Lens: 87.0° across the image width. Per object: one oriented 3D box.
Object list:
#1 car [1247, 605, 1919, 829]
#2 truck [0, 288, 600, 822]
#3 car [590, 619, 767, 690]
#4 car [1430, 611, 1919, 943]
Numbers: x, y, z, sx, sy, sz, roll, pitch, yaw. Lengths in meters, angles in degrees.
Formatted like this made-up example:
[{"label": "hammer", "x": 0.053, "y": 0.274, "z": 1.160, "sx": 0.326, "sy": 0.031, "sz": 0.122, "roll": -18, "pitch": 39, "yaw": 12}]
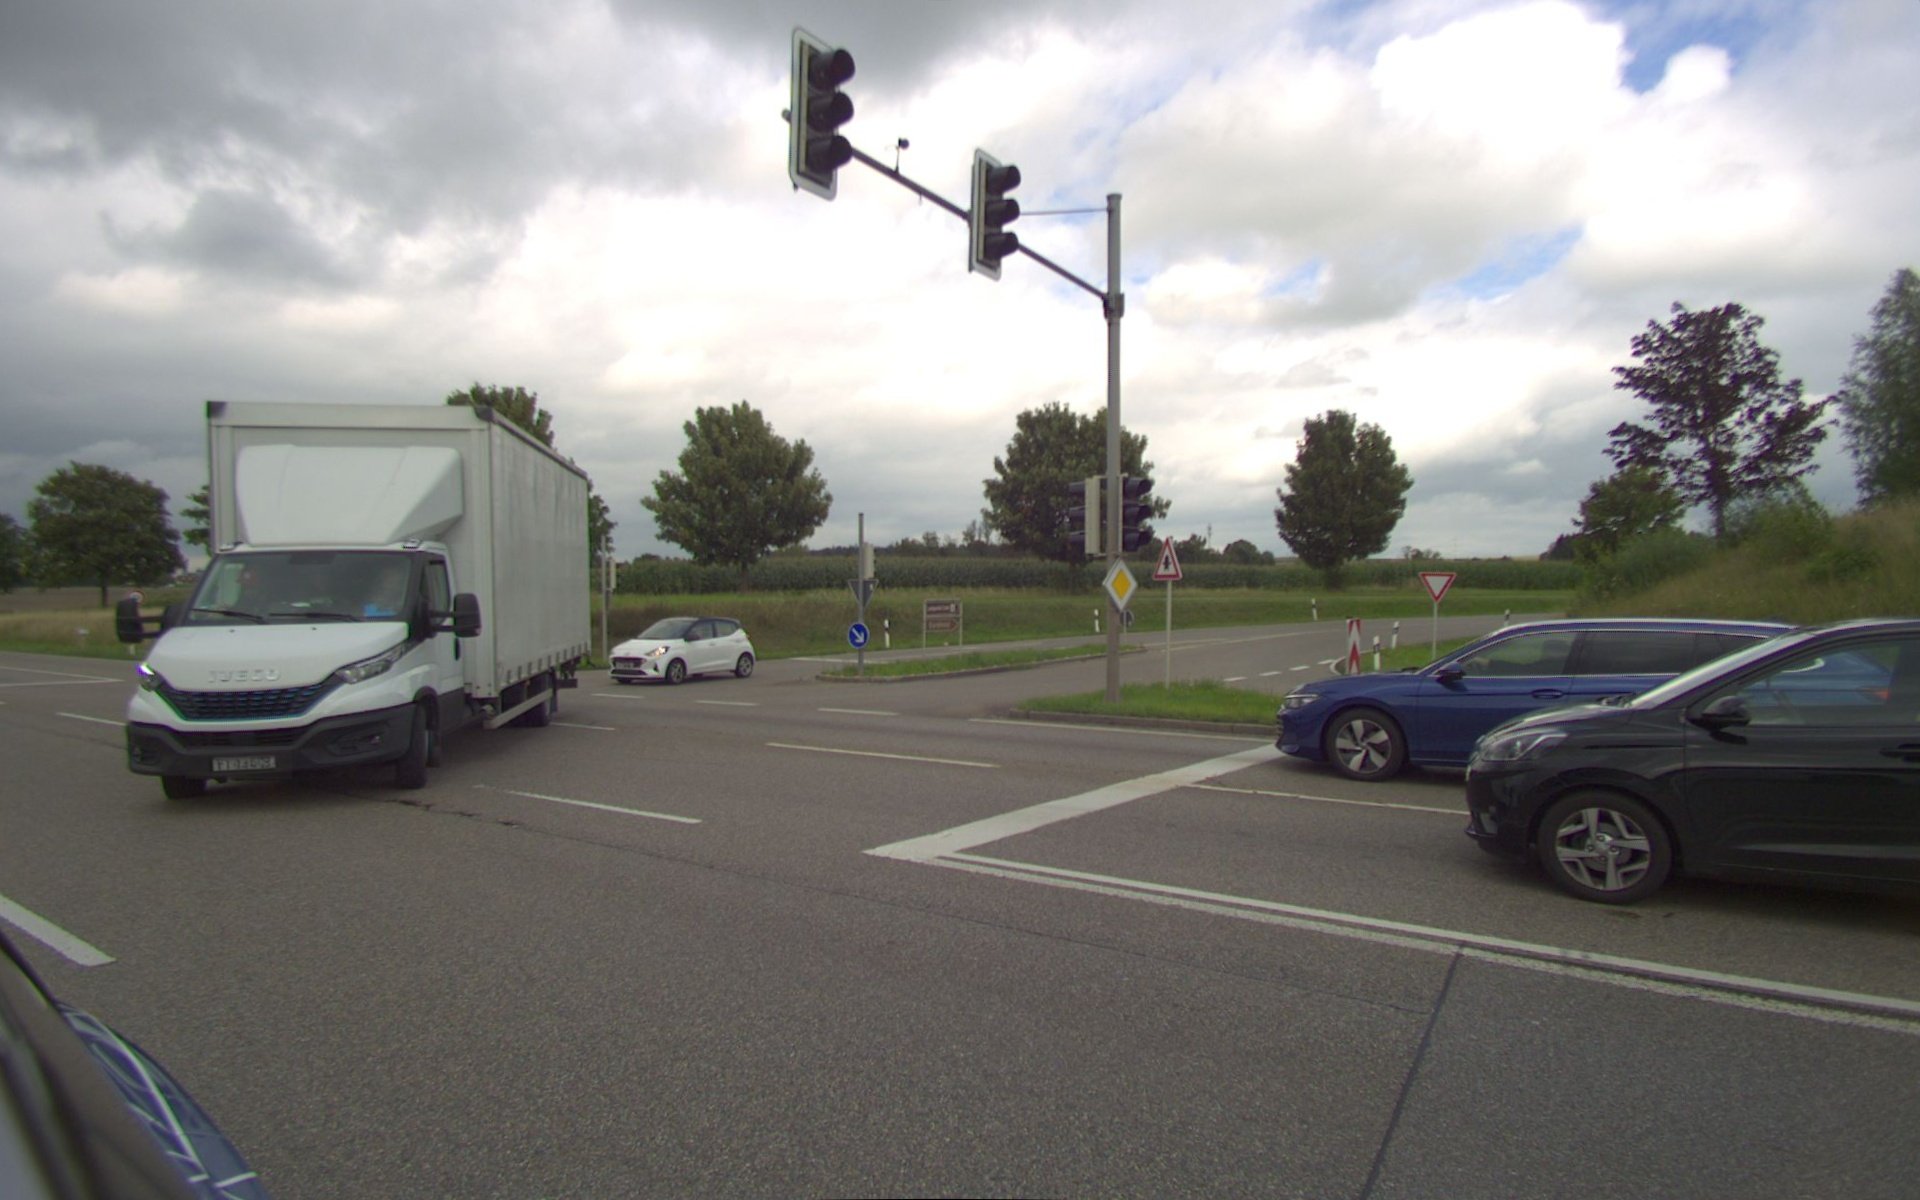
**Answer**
[{"label": "car", "x": 5.398, "y": 0.845, "z": 9.009, "sx": 5.110, "sy": 1.546, "sz": 2.029, "roll": -1, "pitch": -1, "yaw": 33}, {"label": "truck", "x": -6.360, "y": -0.245, "z": 11.737, "sx": 2.793, "sy": 3.792, "sz": 8.819, "roll": 0, "pitch": -1, "yaw": -11}, {"label": "car", "x": -6.505, "y": 1.217, "z": 23.789, "sx": 1.802, "sy": 1.463, "sz": 3.962, "roll": -1, "pitch": -1, "yaw": 28}, {"label": "car", "x": 4.692, "y": 0.788, "z": 5.154, "sx": 3.935, "sy": 1.454, "sz": 1.711, "roll": -1, "pitch": -1, "yaw": 35}]
